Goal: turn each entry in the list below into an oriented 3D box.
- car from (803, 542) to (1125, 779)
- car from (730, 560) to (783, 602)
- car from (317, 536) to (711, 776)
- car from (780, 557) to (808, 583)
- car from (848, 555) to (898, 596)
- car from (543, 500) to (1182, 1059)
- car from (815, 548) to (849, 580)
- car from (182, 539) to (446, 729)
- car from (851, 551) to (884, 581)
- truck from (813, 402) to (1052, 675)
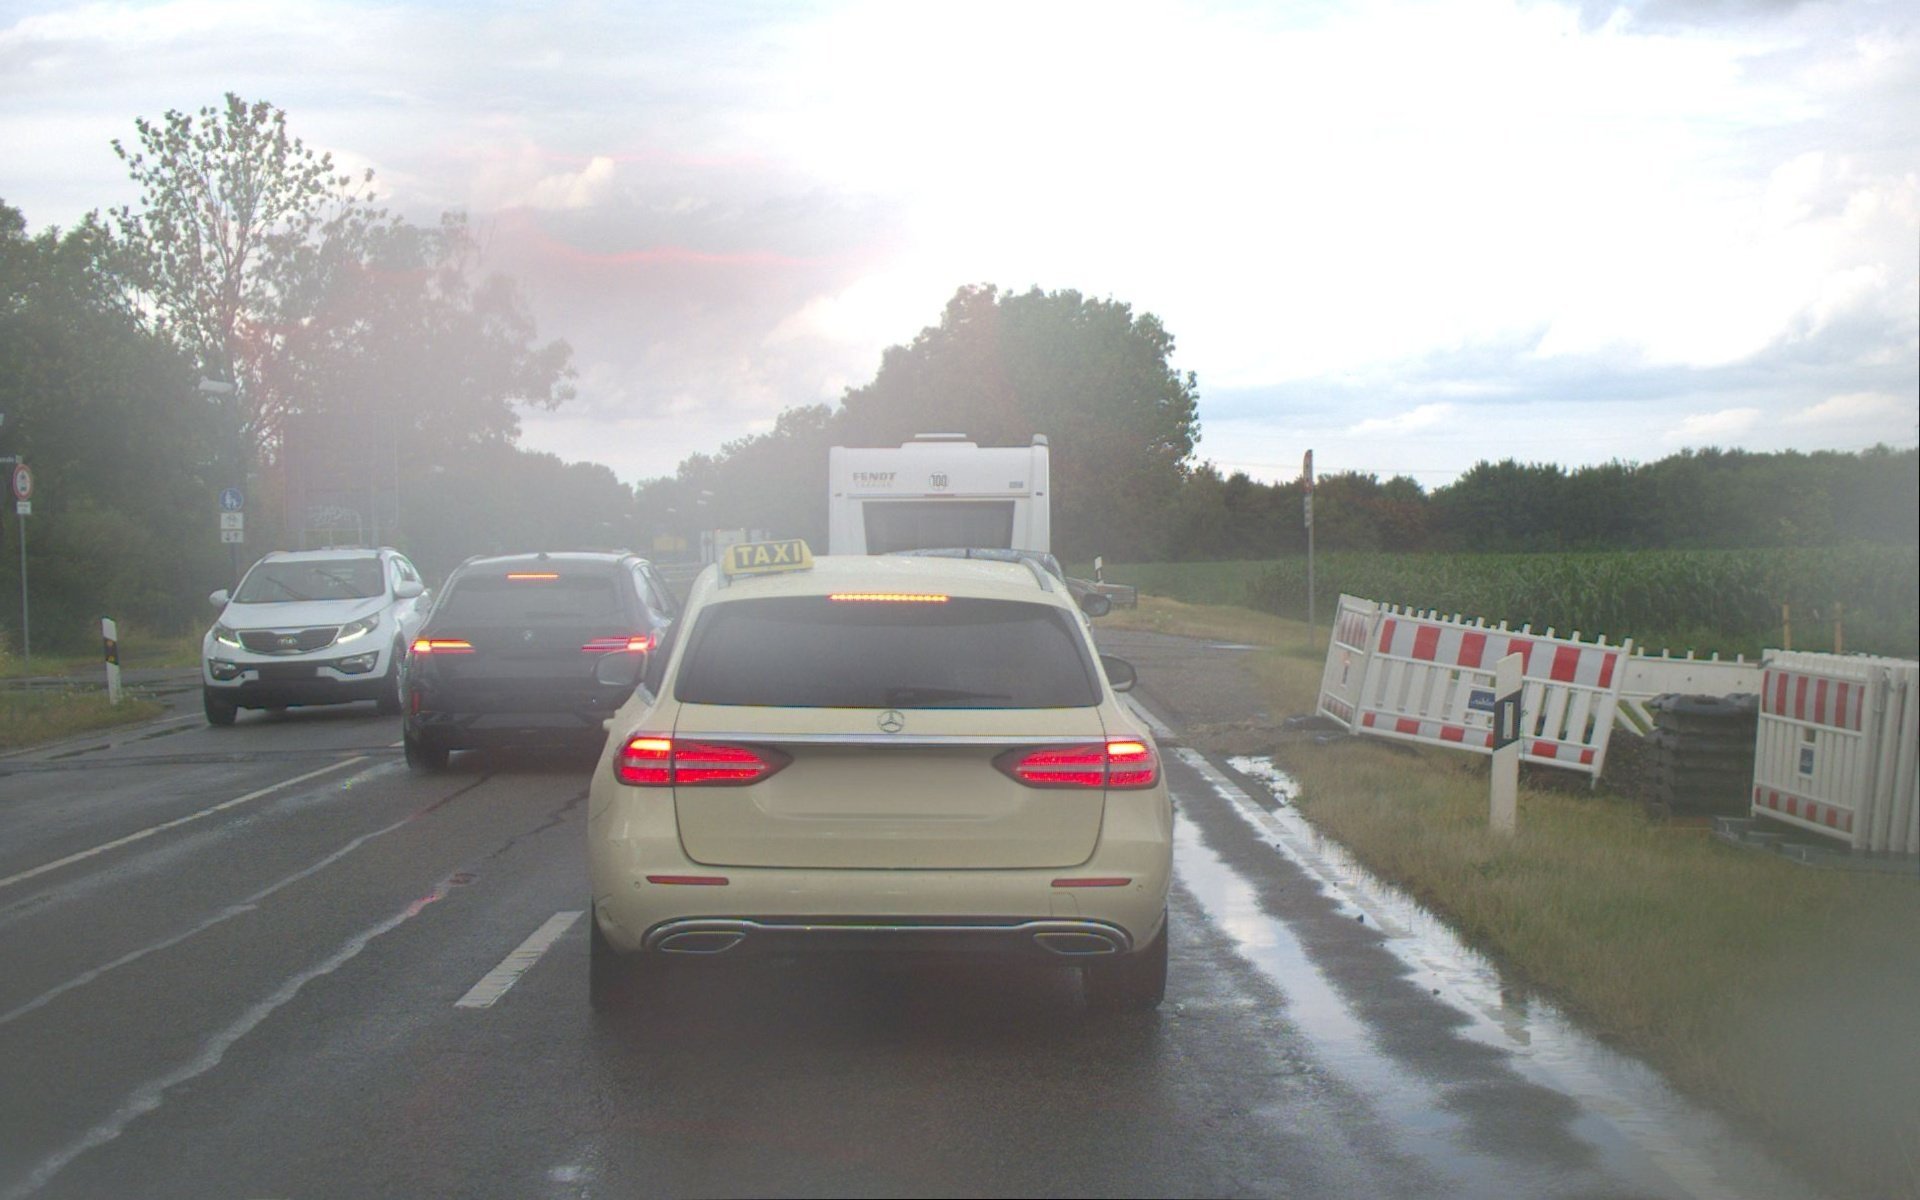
[{"bbox_3d":[-0.003,0.358,23.489,1.993,1.457,4.000,1,1,-1],"label":"car"},{"bbox_3d":[-7.320,-0.702,123.890,1.719,1.399,4.044,-3,1,-1],"label":"car"},{"bbox_3d":[-3.097,0.345,24.908,2.302,1.542,4.633,1,1,-1],"label":"car"},{"bbox_3d":[-12.387,-2.235,256.815,1.895,1.833,3.882,-1,1,-1],"label":"car"},{"bbox_3d":[-3.946,-1.125,154.771,1.993,1.766,4.001,-1,1,-5],"label":"car"},{"bbox_3d":[-0.310,0.494,11.935,1.842,1.612,4.000,0,1,-1],"label":"car"},{"bbox_3d":[-7.737,-2.195,207.852,1.895,1.888,3.844,-1,1,-4],"label":"car"},{"bbox_3d":[-6.251,0.278,33.682,1.704,1.665,4.156,-3,1,0],"label":"car"},{"bbox_3d":[-4.897,-1.820,182.518,1.682,1.545,3.753,1,1,-1],"label":"car"},{"bbox_3d":[-0.325,-0.683,38.493,2.363,2.719,7.315,-1,1,-1],"label":"truck"}]
